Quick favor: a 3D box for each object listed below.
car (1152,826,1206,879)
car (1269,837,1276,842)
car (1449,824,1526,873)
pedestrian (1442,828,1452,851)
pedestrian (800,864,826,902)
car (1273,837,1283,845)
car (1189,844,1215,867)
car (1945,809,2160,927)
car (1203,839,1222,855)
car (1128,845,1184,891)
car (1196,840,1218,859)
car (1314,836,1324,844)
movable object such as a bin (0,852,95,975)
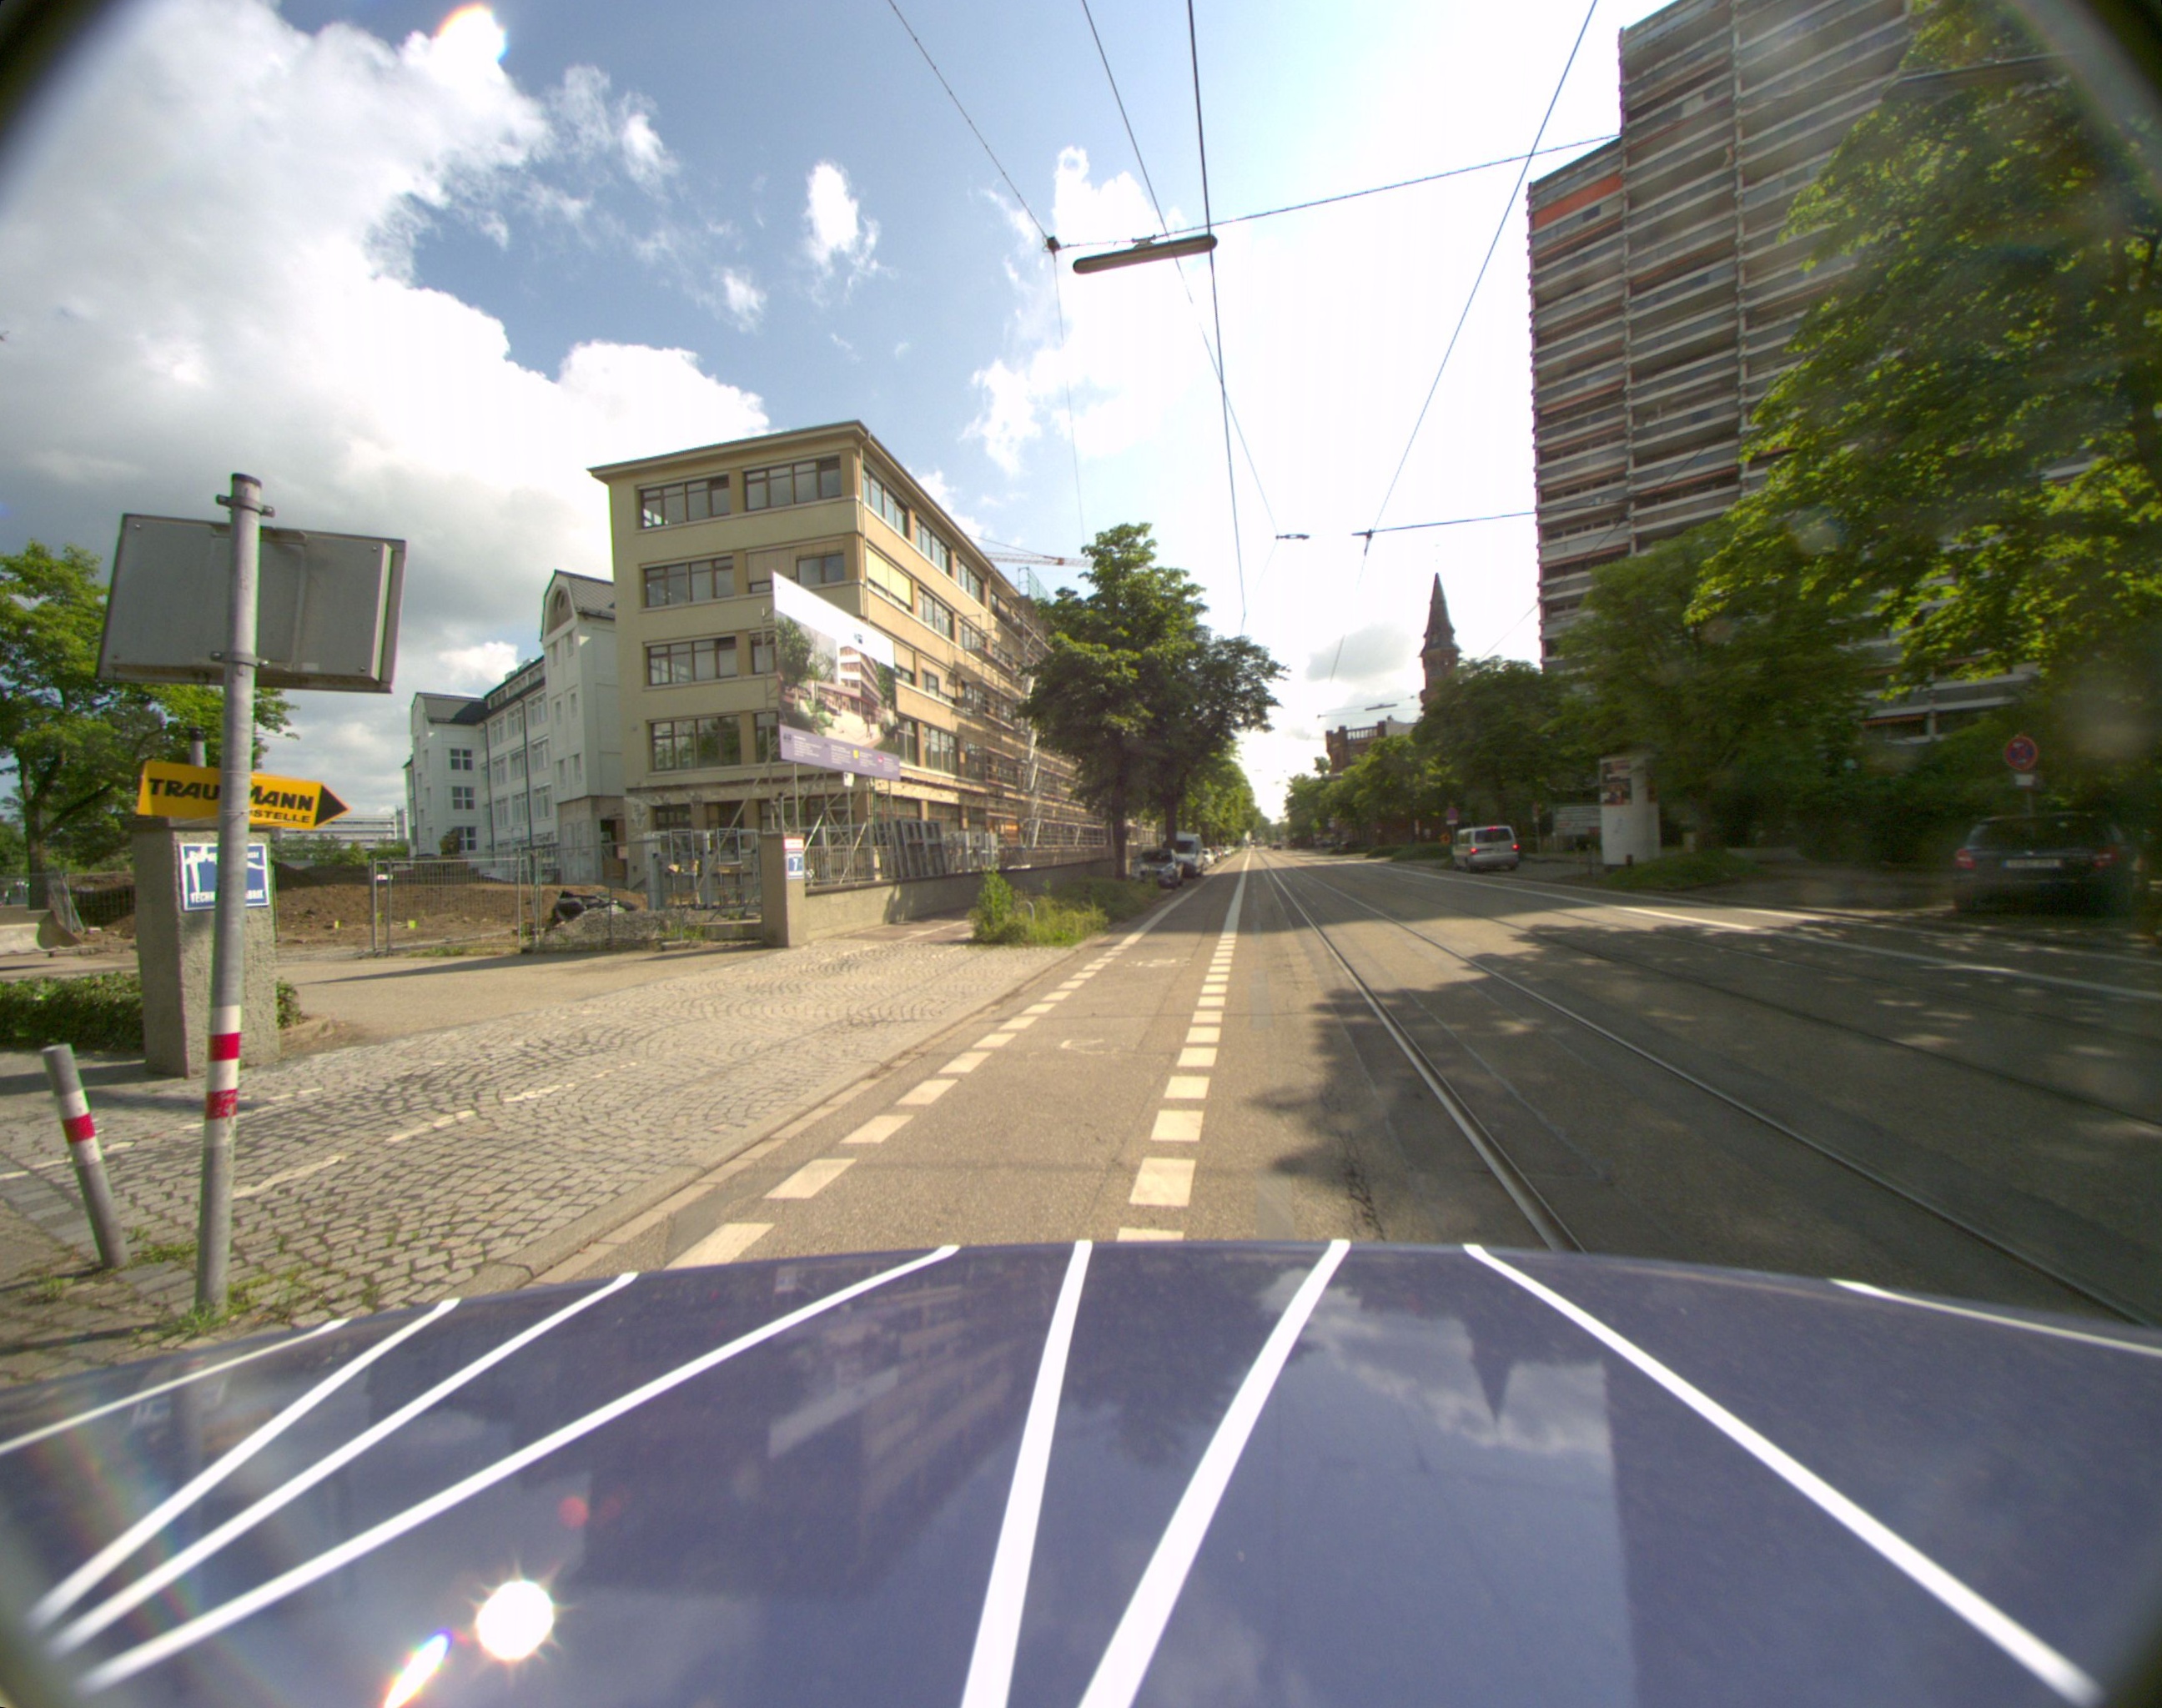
[{"bbox_3d":[5.476,-0.148,41.802,2.335,2.545,5.394,-5,0,12],"label":"car"},{"bbox_3d":[63.915,-4.716,253.171,1.890,1.635,4.239,-3,1,11],"label":"car"},{"bbox_3d":[17.752,-0.285,33.395,1.890,1.840,4.240,-5,0,14],"label":"car"},{"bbox_3d":[27.844,-1.096,57.782,0.462,1.745,0.533,-5,3,6],"label":"pedestrian"},{"bbox_3d":[-9.691,1.054,27.451,0.634,1.306,0.463,-4,4,28],"label":"pedestrian"},{"bbox_3d":[45.595,-3.036,176.077,1.890,1.635,4.239,-3,1,11],"label":"car"},{"bbox_3d":[9.740,0.092,61.096,1.749,1.597,4.239,-5,0,12],"label":"car"},{"bbox_3d":[15.135,0.139,11.798,3.891,1.514,1.738,-3,1,-34],"label":"car"},{"bbox_3d":[14.214,-0.777,81.775,1.749,1.597,4.239,-5,0,12],"label":"car"},{"bbox_3d":[3.192,0.536,31.710,1.749,1.597,4.239,-5,0,12],"label":"car"},{"bbox_3d":[11.863,-0.463,71.387,1.749,1.597,4.239,-5,0,12],"label":"car"},{"bbox_3d":[45.499,-2.712,145.371,1.627,1.565,3.955,1,2,13],"label":"car"},{"bbox_3d":[-24.171,1.224,15.472,5.430,2.429,2.000,-1,-1,-2],"label":"movable object such as a bin"}]
